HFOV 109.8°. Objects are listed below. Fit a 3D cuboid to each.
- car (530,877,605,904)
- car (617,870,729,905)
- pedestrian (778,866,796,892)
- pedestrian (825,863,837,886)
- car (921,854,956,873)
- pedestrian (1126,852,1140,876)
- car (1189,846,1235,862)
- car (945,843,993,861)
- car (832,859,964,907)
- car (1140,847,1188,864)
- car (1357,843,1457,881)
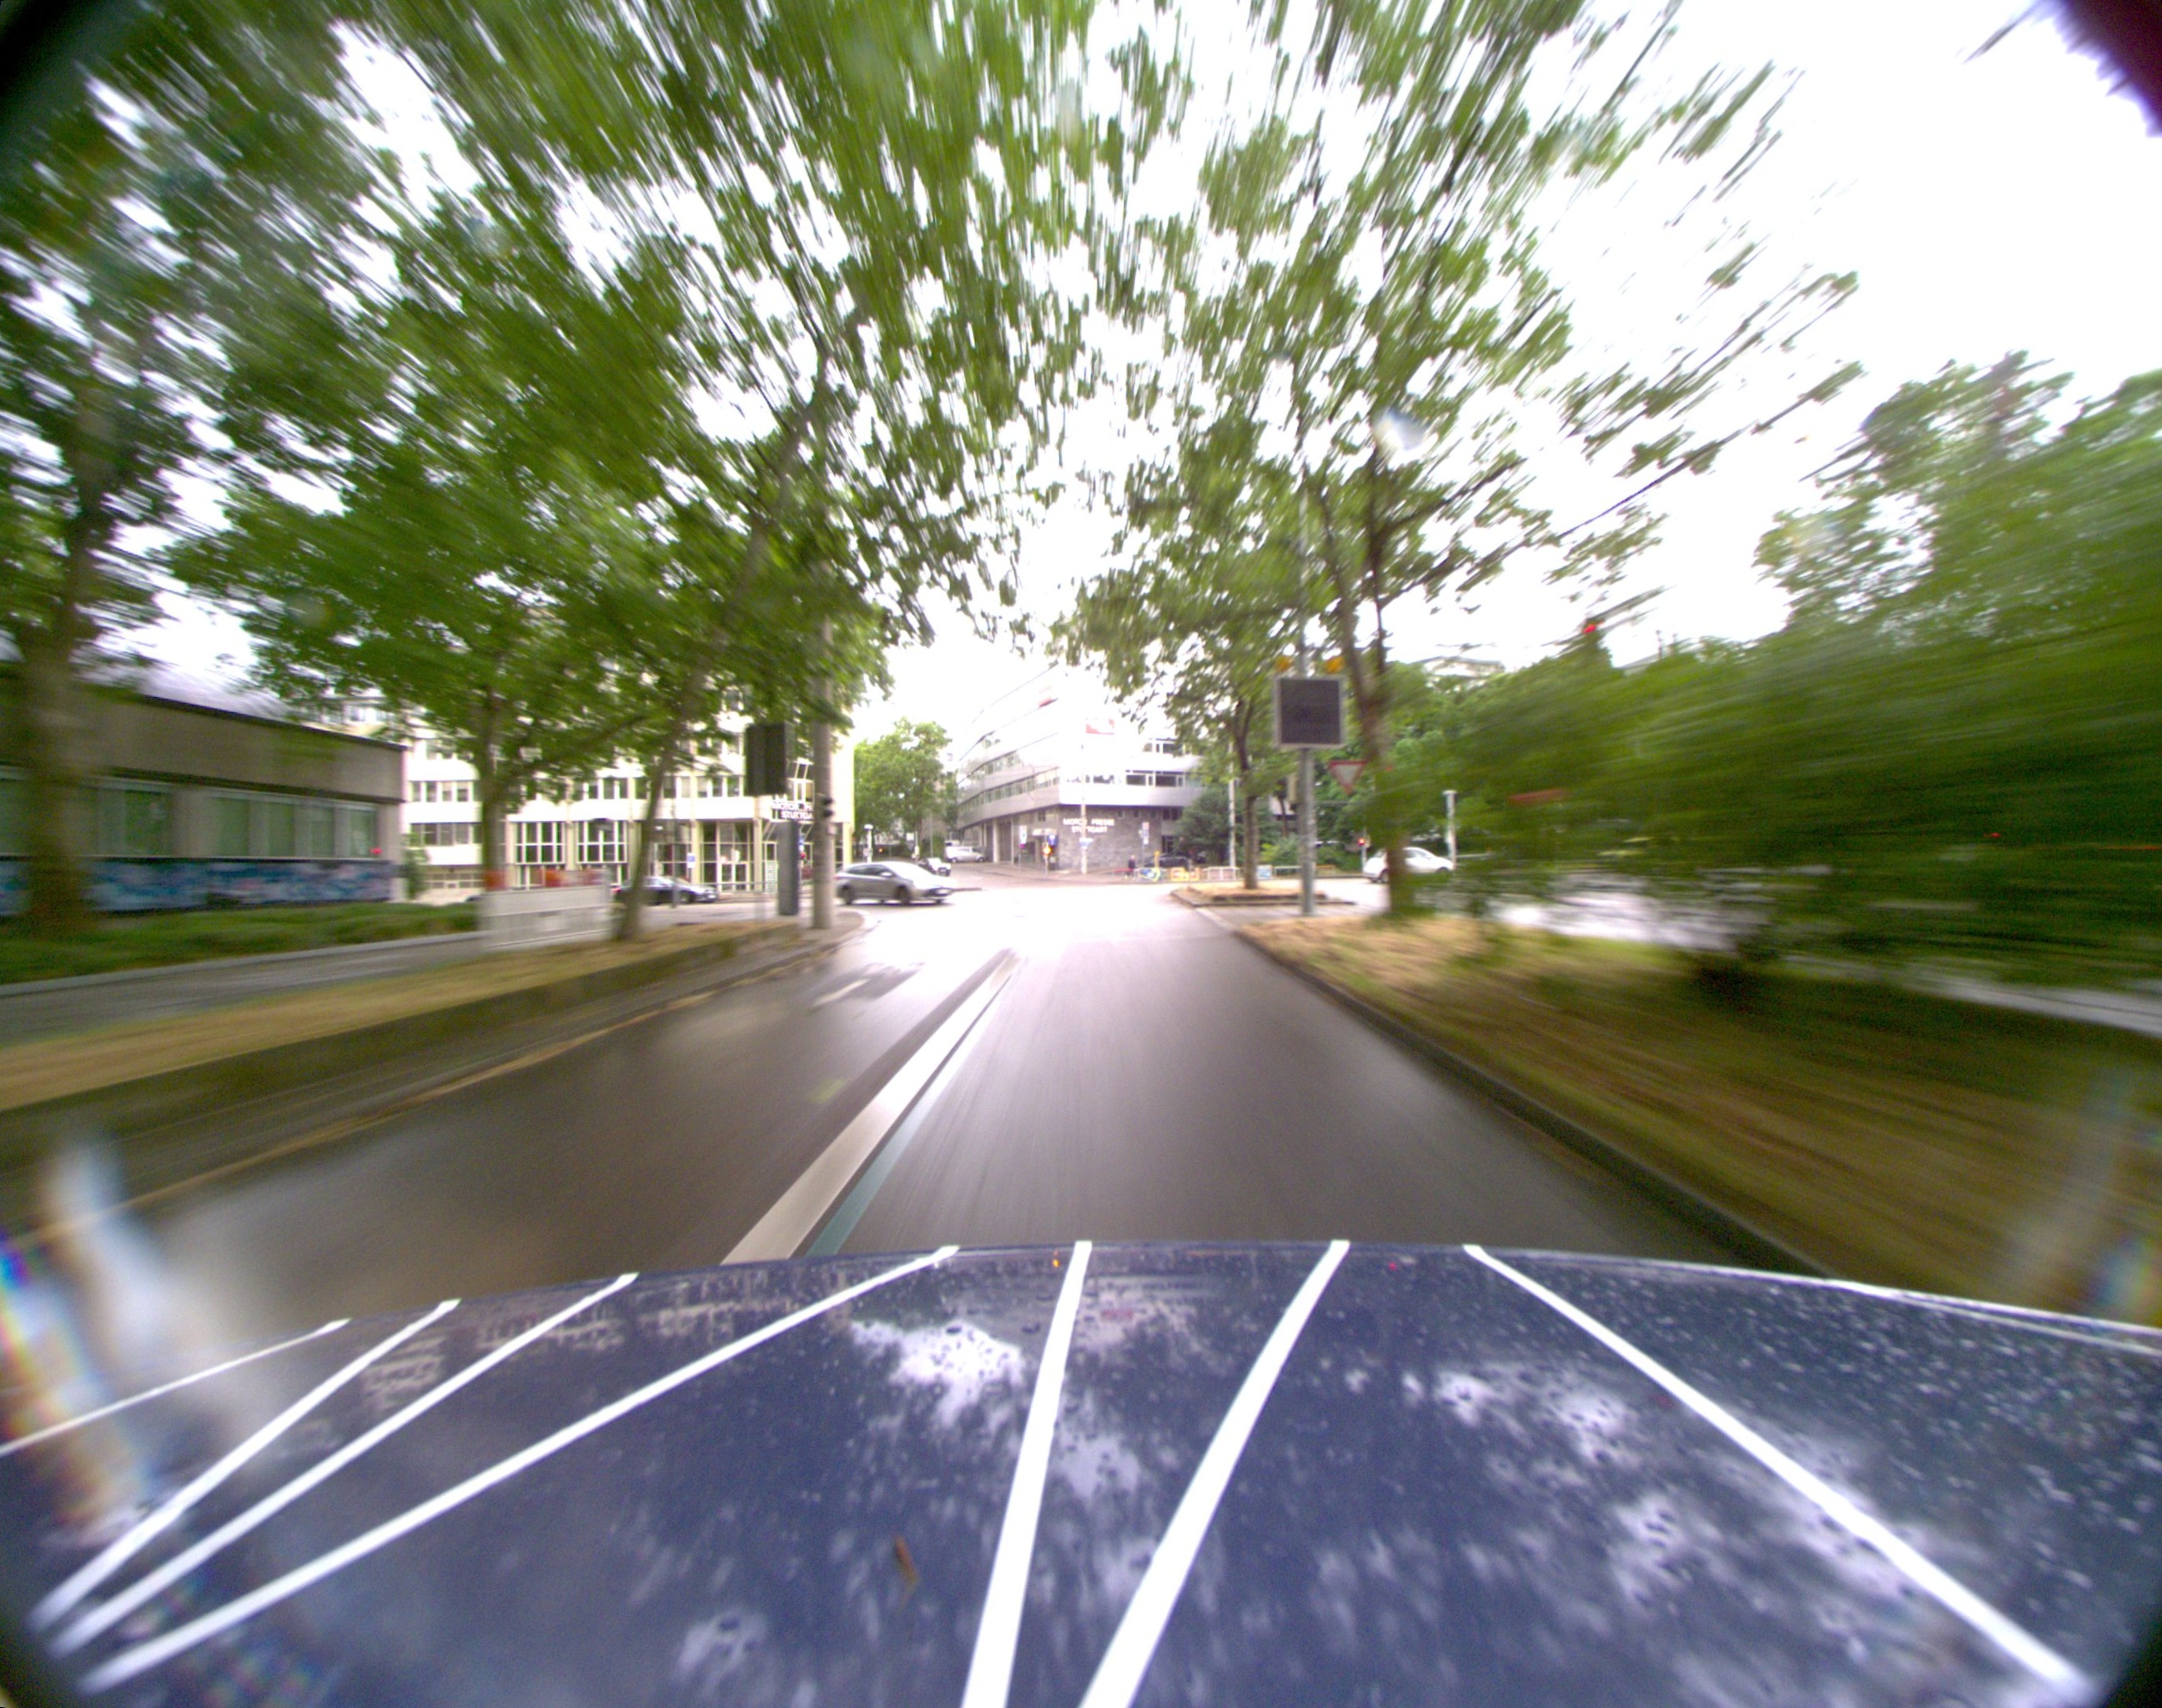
[{"bbox_3d":[-36.968,2.627,54.771,4.213,1.736,1.802,-2,0,2],"label":"car"},{"bbox_3d":[-19.162,1.577,35.749,4.468,1.433,1.804,-2,-2,11],"label":"car"},{"bbox_3d":[-20.545,1.765,53.162,0.829,1.776,0.761,-1,1,16],"label":"pedestrian"},{"bbox_3d":[-18.342,1.481,55.650,0.720,1.629,0.759,-2,1,-24],"label":"pedestrian"},{"bbox_3d":[-13.530,0.886,72.079,2.002,1.572,4.875,-2,3,-26],"label":"car"},{"bbox_3d":[4.085,0.777,59.940,0.720,1.850,0.847,-2,1,-24],"label":"pedestrian"},{"bbox_3d":[12.593,0.008,73.199,4.005,1.422,1.875,-2,0,-27],"label":"car"},{"bbox_3d":[-13.684,-0.280,92.884,5.418,2.001,1.998,-1,-2,-18],"label":"car"},{"bbox_3d":[-6.224,0.987,25.707,4.286,1.426,1.816,-3,-1,33],"label":"car"},{"bbox_3d":[7.737,0.172,70.829,4.098,1.422,1.875,-2,0,-27],"label":"car"},{"bbox_3d":[13.761,0.369,32.204,3.437,1.425,1.656,-2,-2,1],"label":"car"}]
